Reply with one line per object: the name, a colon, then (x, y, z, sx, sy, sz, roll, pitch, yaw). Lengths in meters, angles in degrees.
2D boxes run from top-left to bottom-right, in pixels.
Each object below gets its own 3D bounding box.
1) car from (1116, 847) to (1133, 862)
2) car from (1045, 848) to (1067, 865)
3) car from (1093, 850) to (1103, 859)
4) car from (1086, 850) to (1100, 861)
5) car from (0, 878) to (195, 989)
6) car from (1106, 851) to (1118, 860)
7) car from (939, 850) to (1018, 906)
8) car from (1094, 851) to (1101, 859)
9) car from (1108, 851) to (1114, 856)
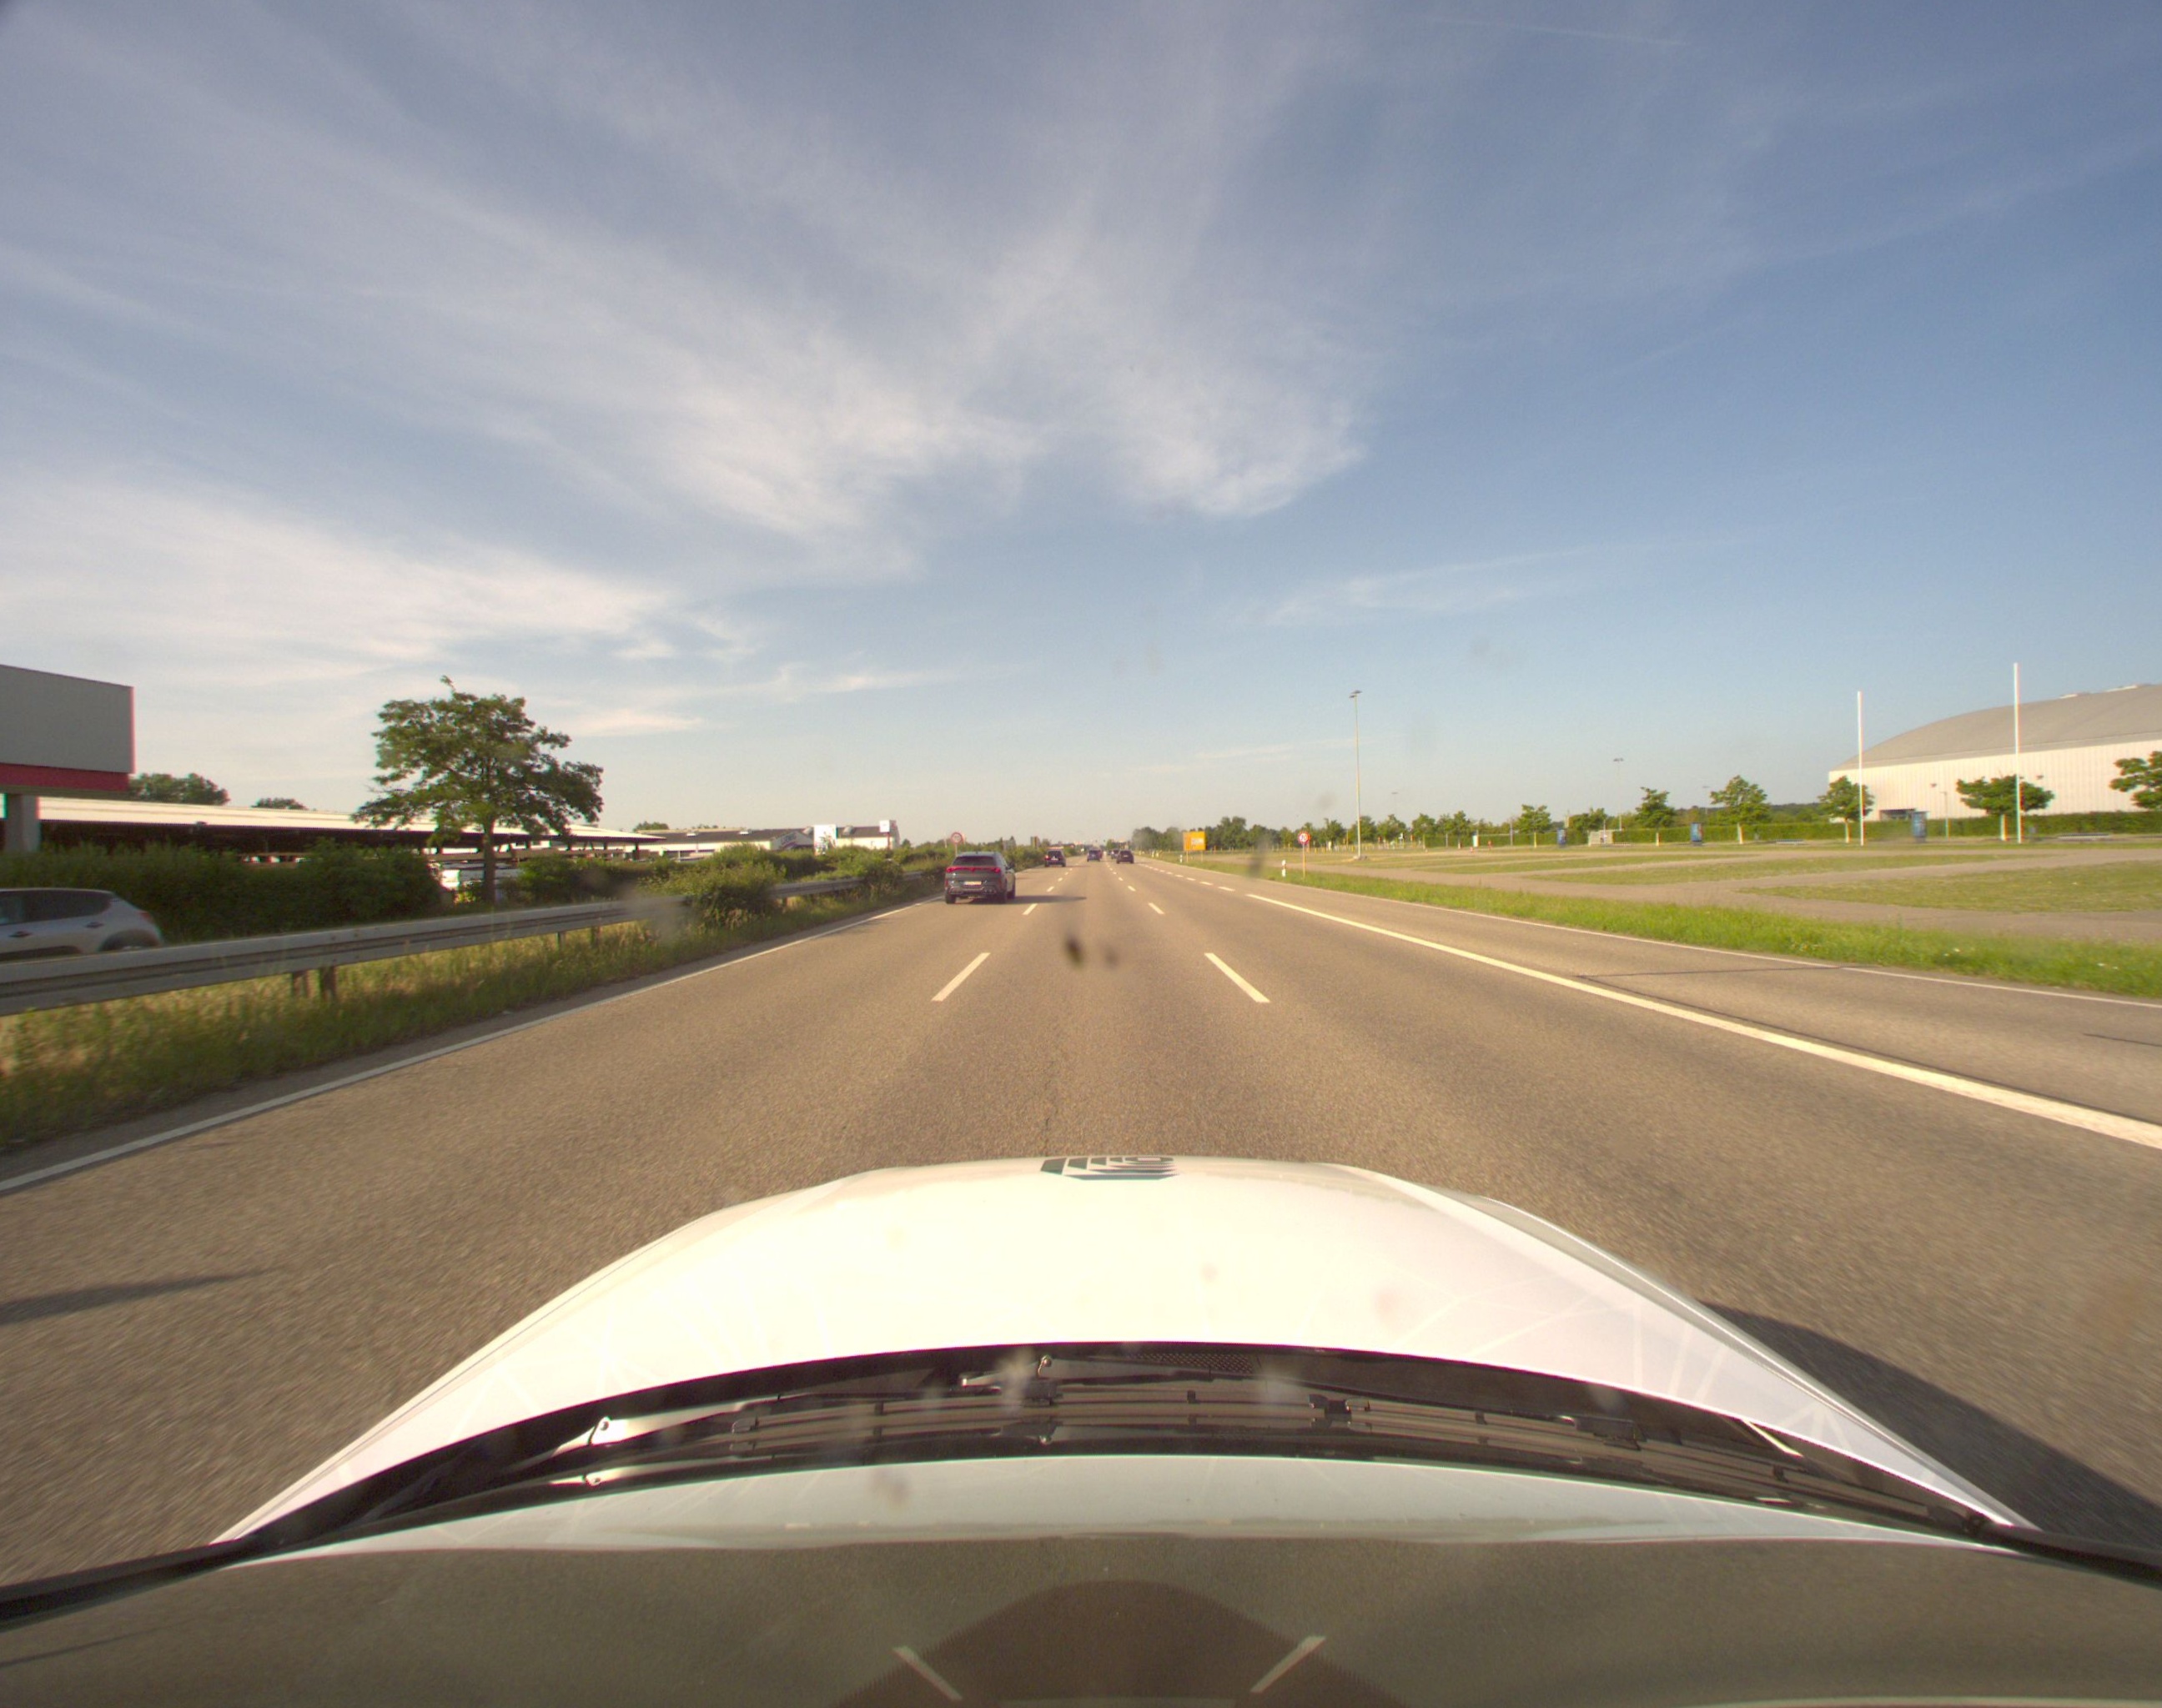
car: (5.174, 0.026, 96.680, 1.925, 1.680, 4.402, 1, 0, 1)
car: (-2.439, 0.234, 80.136, 1.925, 1.680, 4.402, 1, 0, 1)
car: (2.970, 0.053, 138.571, 1.641, 1.463, 3.982, 1, 0, 1)
car: (1.702, 0.171, 113.854, 1.806, 1.463, 4.402, 1, 0, 1)
car: (-15.368, 1.127, 11.243, 1.773, 1.424, 4.002, -2, 0, 2)
car: (4.996, 0.226, 133.206, 1.866, 1.463, 3.982, 1, 0, 1)
car: (-3.153, 0.684, 25.982, 1.839, 1.611, 4.402, 1, 0, 1)
car: (3.879, 0.250, 194.352, 1.639, 1.728, 3.401, 0, -1, 1)
car: (7.427, -0.072, 202.791, 1.497, 1.313, 3.157, 1, 0, 1)
